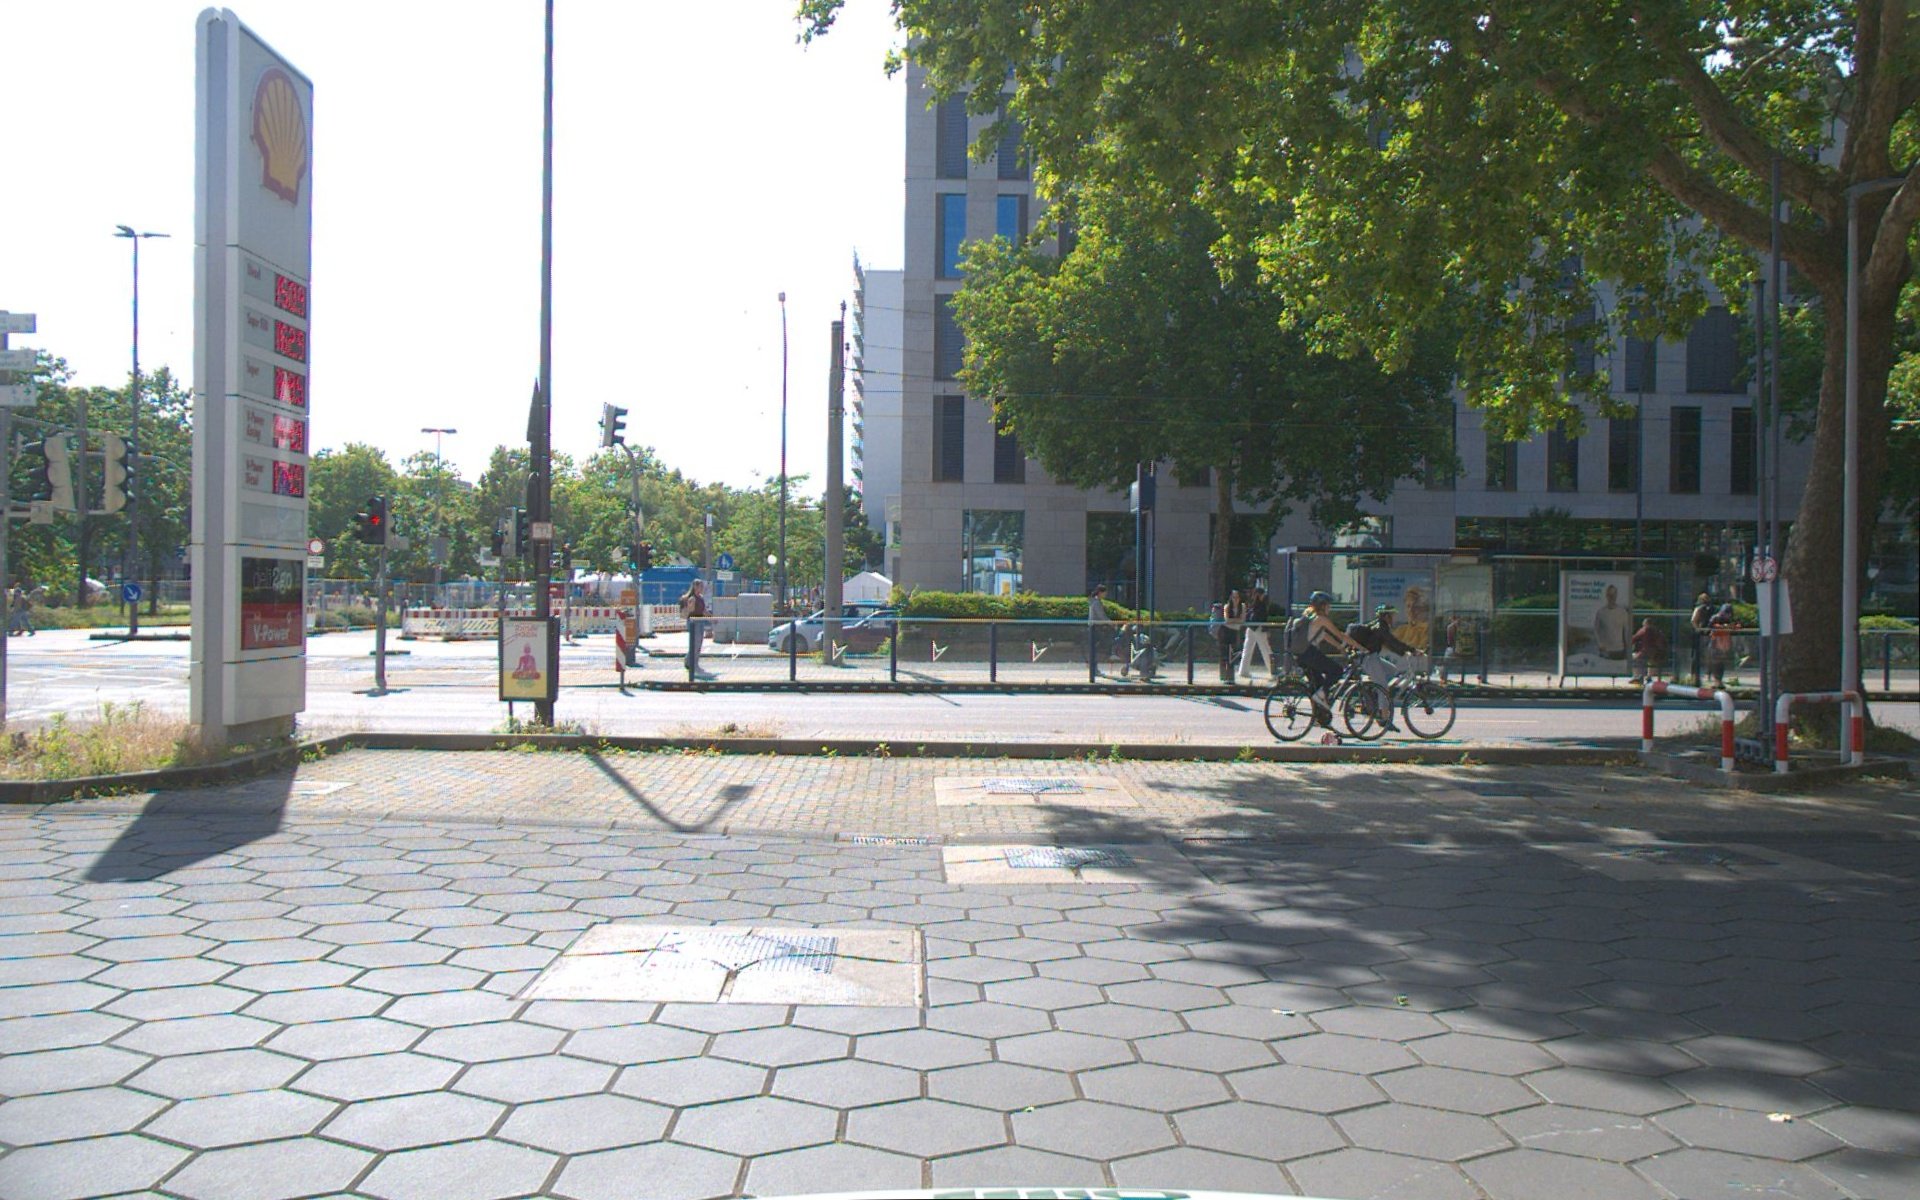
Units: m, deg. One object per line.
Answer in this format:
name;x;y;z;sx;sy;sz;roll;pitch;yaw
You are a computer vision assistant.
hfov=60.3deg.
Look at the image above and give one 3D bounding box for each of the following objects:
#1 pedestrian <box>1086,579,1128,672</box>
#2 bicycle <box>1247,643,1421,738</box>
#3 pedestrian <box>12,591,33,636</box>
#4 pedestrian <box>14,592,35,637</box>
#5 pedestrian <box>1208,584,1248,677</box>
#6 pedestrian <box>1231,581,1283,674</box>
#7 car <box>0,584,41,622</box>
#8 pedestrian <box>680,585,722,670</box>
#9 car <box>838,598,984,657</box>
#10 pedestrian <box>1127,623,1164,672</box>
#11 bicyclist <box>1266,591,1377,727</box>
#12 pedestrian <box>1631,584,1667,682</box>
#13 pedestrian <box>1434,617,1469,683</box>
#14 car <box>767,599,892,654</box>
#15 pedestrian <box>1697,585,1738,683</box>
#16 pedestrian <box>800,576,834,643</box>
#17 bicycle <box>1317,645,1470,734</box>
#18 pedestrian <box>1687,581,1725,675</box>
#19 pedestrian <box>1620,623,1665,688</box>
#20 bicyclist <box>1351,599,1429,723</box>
pedestrian;2.744;0.477;30.859;0.760;1.712;0.503;1;0;7
bicycle;4.531;1.083;20.046;1.985;1.101;0.637;1;0;-14
pedestrian;-31.767;0.461;56.047;0.556;1.495;0.509;1;0;-27
pedestrian;-31.252;0.486;55.269;0.556;1.495;0.509;1;0;-27
pedestrian;4.784;0.532;29.582;0.572;1.619;0.670;1;1;-2
pedestrian;5.570;0.508;31.014;0.912;1.712;0.503;1;0;7
car;-47.971;0.178;81.776;3.904;1.847;2.001;-1;0;2
pedestrian;-4.828;0.501;30.862;0.636;1.567;0.503;1;0;7
car;-1.384;0.754;46.073;3.911;1.579;1.700;1;0;-8
pedestrian;3.456;0.884;30.775;0.676;0.895;0.503;1;0;7
bicyclist;4.367;0.698;20.012;1.149;1.608;0.637;1;0;-14
pedestrian;12.536;0.595;30.097;0.488;1.766;0.406;1;0;1
pedestrian;8.878;0.900;29.891;0.488;1.158;0.524;1;0;4
car;-3.891;0.775;48.919;3.612;1.579;1.589;1;0;-8
pedestrian;13.747;0.609;30.033;0.488;1.766;0.524;1;0;1
pedestrian;-4.980;0.329;57.687;1.086;2.287;1.102;1;0;-2
bicycle;5.562;1.141;21.276;1.824;1.101;0.524;1;0;-3
pedestrian;14.227;0.530;31.545;0.488;1.766;0.524;1;0;1
pedestrian;12.423;1.005;30.101;0.615;1.158;0.524;0;0;4
bicyclist;5.531;0.777;21.281;0.845;1.571;0.534;1;-1;-2
